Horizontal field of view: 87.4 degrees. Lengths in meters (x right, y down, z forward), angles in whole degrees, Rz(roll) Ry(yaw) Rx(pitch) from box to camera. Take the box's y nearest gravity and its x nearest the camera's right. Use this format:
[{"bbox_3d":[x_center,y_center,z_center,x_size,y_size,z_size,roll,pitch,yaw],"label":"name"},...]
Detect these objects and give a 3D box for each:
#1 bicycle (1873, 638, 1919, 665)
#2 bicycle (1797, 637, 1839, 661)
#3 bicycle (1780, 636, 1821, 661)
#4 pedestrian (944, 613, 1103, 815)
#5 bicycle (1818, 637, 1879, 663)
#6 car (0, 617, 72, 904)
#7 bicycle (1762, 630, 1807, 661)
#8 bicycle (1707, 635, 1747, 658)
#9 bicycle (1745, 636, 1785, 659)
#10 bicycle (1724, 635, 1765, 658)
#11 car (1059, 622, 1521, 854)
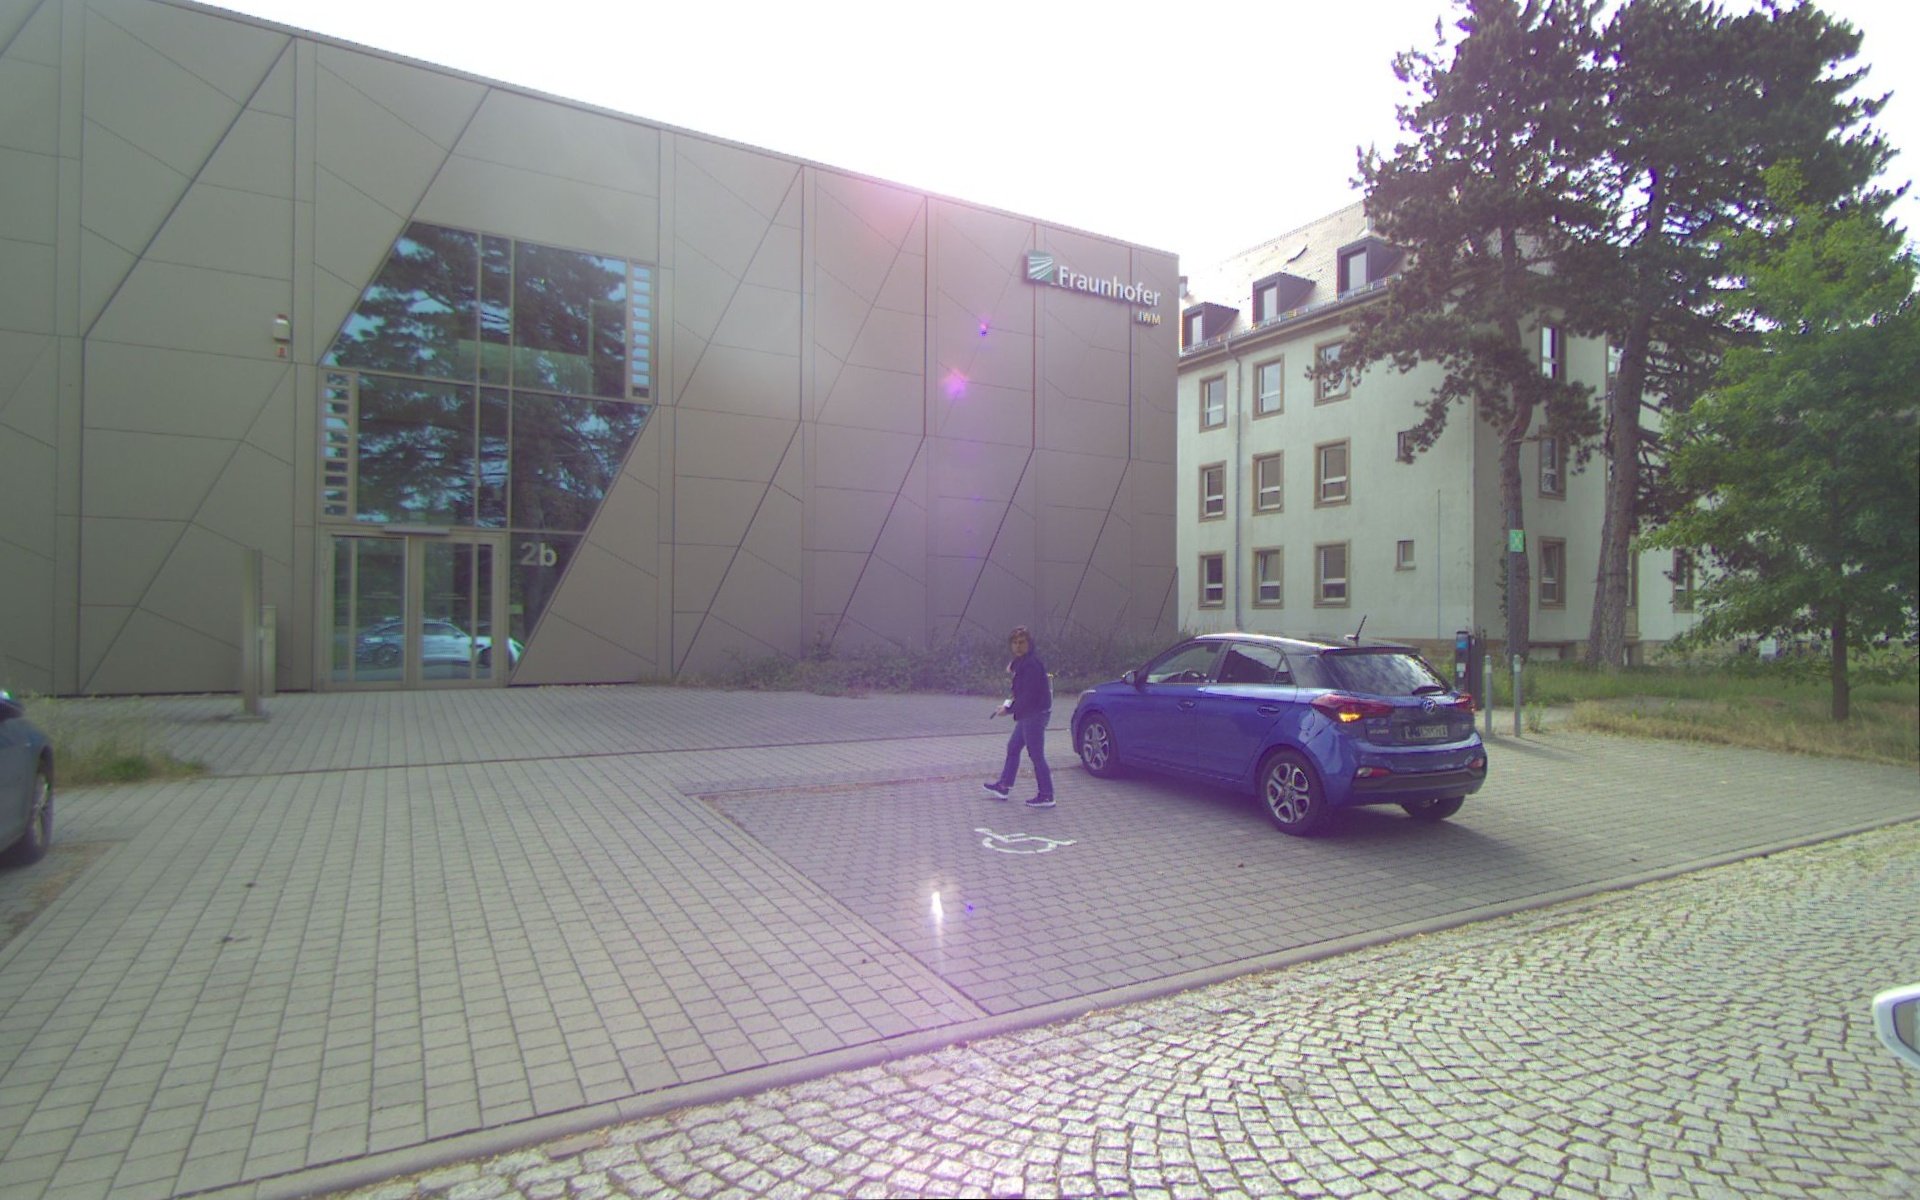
[{"bbox_3d":[39.403,2.123,41.854,0.821,1.090,1.849,1,-2,-27],"label":"bicycle"},{"bbox_3d":[38.810,2.204,45.407,2.246,1.090,0.732,1,-1,-30],"label":"bicycle"},{"bbox_3d":[38.433,2.219,45.927,2.246,1.090,0.732,1,-1,-30],"label":"bicycle"},{"bbox_3d":[0.525,0.906,8.411,0.813,1.514,0.974,3,0,-43],"label":"pedestrian"},{"bbox_3d":[38.461,2.144,43.482,0.729,1.090,1.849,1,-2,-27],"label":"bicycle"},{"bbox_3d":[-5.437,0.842,4.309,1.755,1.447,4.280,1,0,-32],"label":"car"},{"bbox_3d":[38.378,2.089,46.757,2.679,1.404,0.732,1,-1,-30],"label":"bicycle"},{"bbox_3d":[37.062,2.223,48.502,2.246,1.090,0.732,1,-1,-30],"label":"bicycle"},{"bbox_3d":[38.085,2.238,47.509,2.246,1.090,0.732,1,-1,-30],"label":"bicycle"},{"bbox_3d":[37.353,2.213,47.826,2.246,1.090,0.732,1,-1,-30],"label":"bicycle"},{"bbox_3d":[2.670,0.999,9.008,1.828,1.497,3.752,1,0,-27],"label":"car"}]
